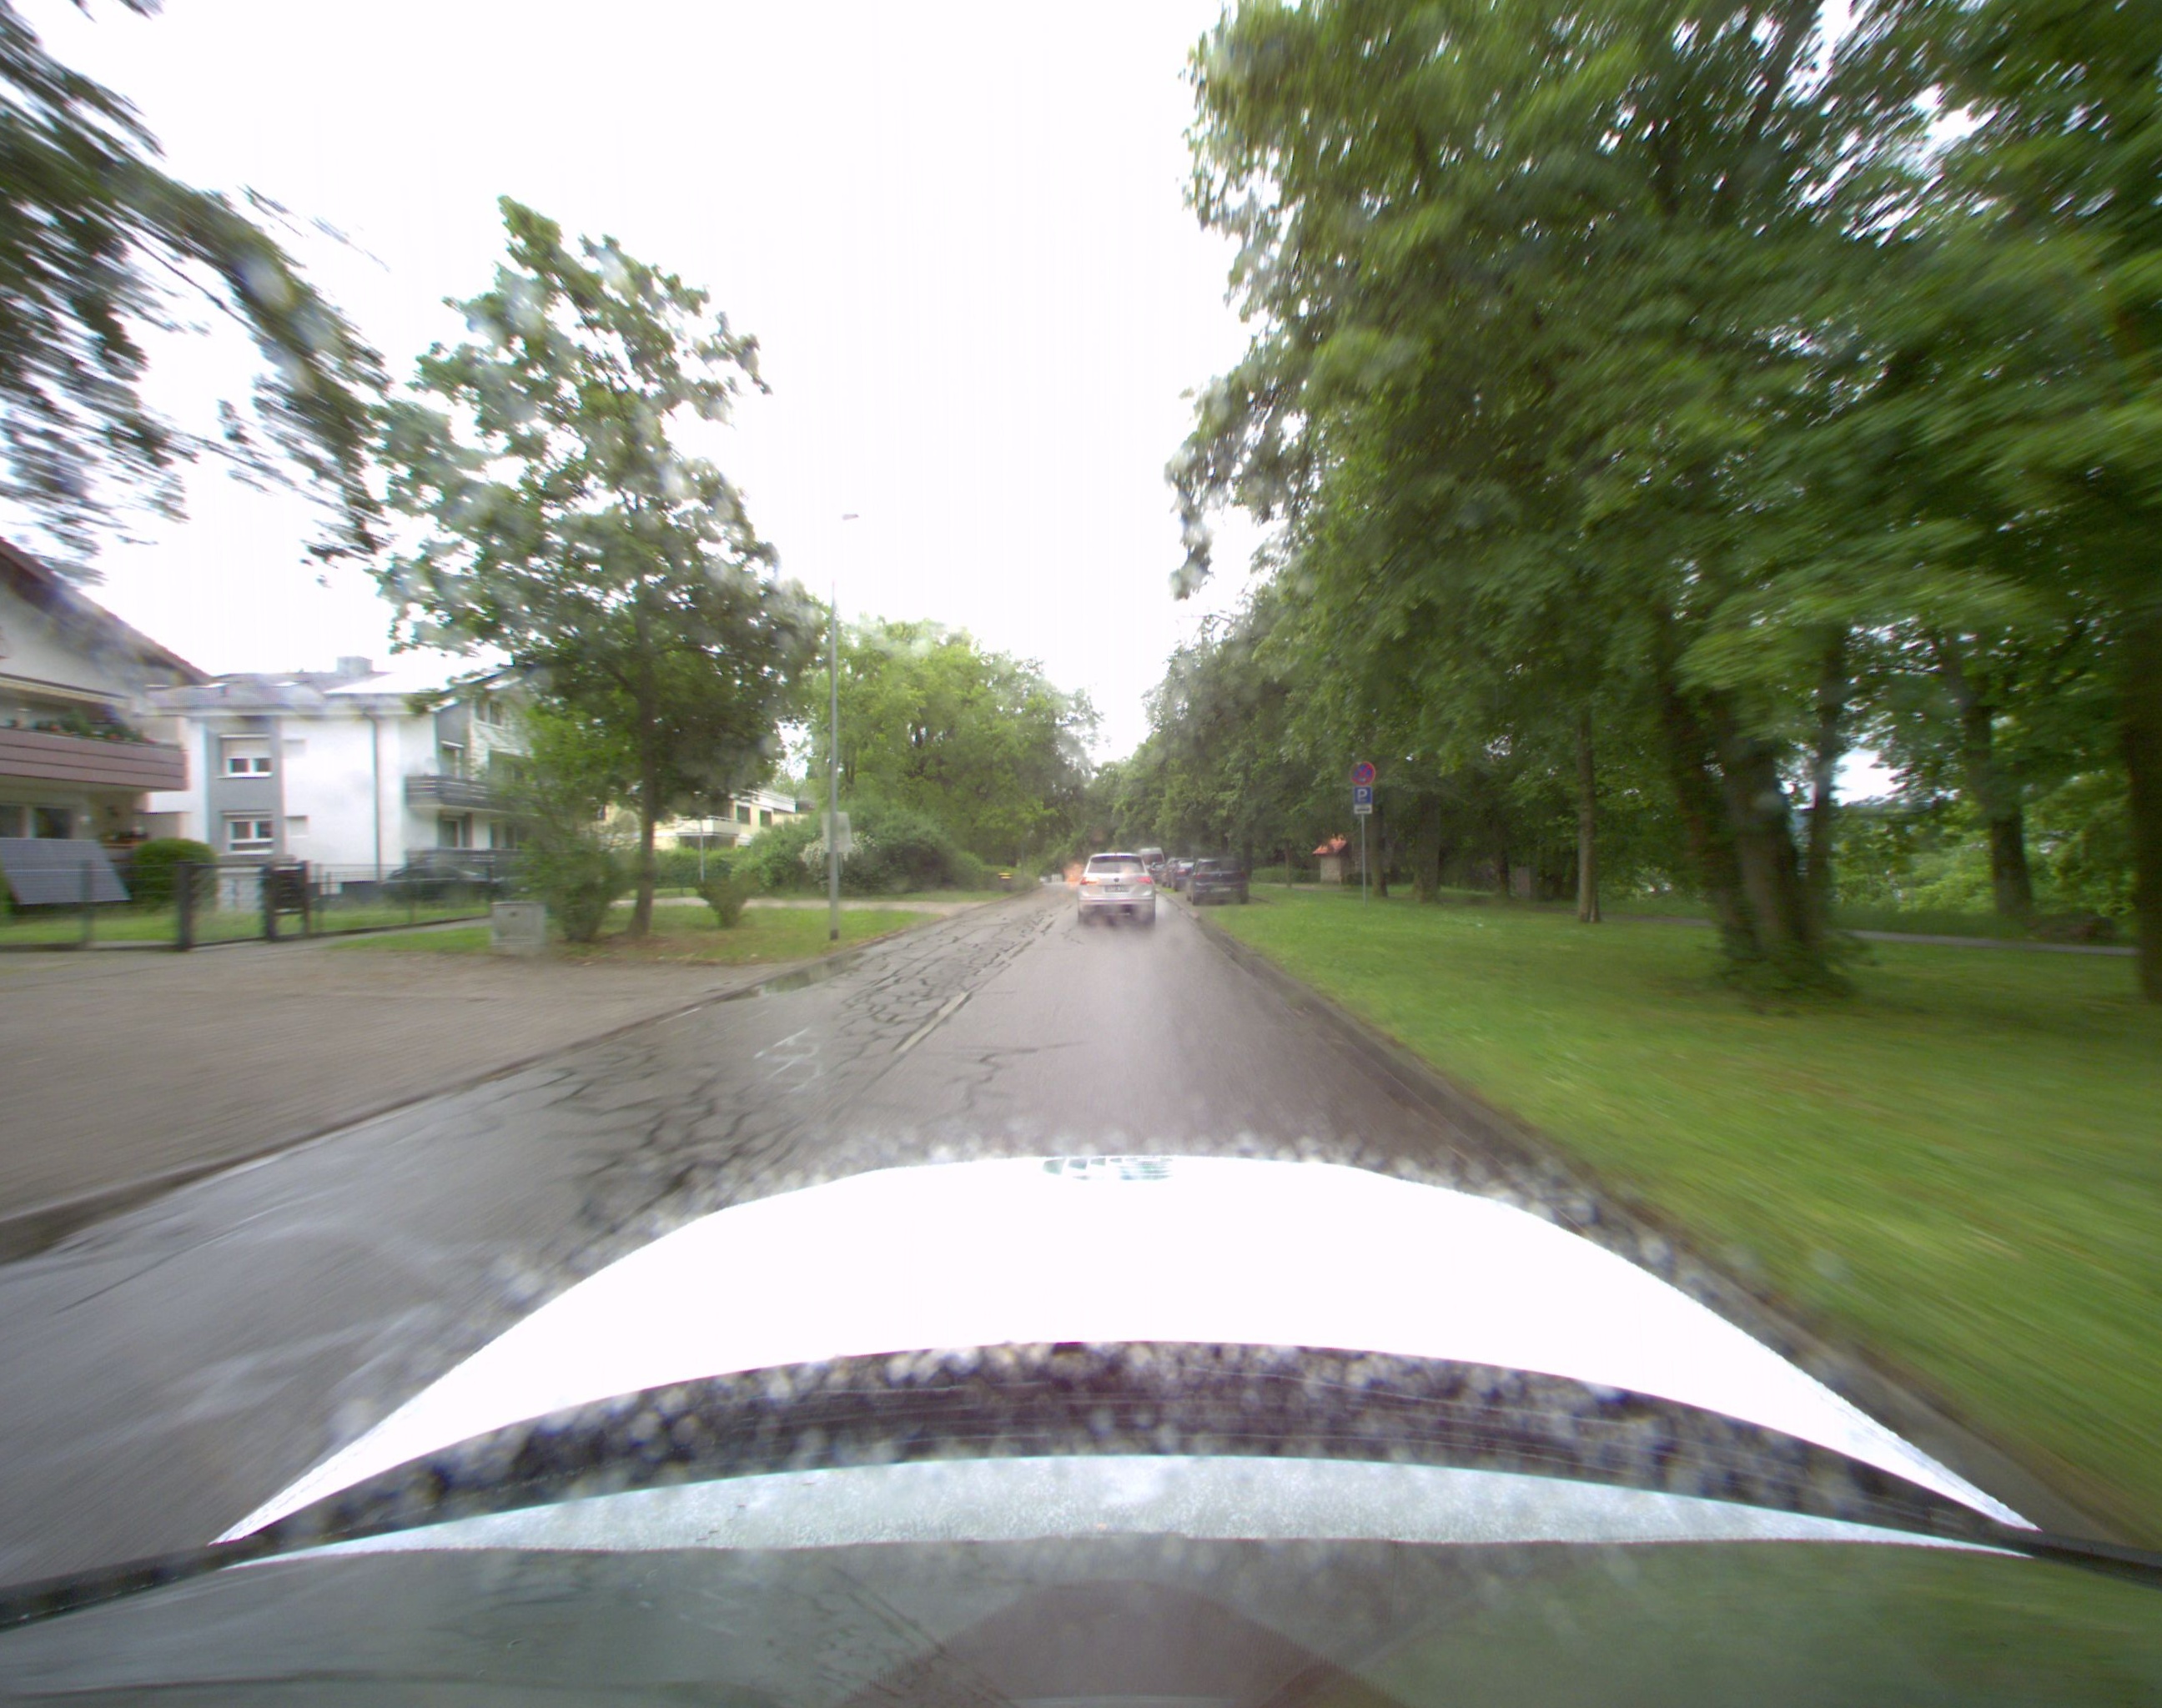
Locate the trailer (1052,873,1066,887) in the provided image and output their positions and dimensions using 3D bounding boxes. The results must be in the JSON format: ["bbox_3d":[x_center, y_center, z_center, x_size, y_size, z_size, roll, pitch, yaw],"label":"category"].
[{"bbox_3d":[-3.561,4.296,132.267,1.530,2.076,3.985,-3,-4,-10],"label":"trailer"}]

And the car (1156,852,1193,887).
[{"bbox_3d":[5.088,0.830,44.861,1.773,1.719,4.265,-3,-1,4],"label":"car"}]

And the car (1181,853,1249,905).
[{"bbox_3d":[4.269,0.764,26.486,1.693,1.461,4.220,-3,-1,3],"label":"car"}]

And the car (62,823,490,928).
[{"bbox_3d":[-17.054,0.429,17.740,5.727,2.038,3.477,0,0,-1],"label":"car"}]

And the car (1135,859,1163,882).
[{"bbox_3d":[4.706,1.128,56.604,1.857,1.511,3.728,-2,-1,4],"label":"car"}]

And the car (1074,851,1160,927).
[{"bbox_3d":[0.821,0.792,20.324,1.899,1.685,4.200,0,-1,0],"label":"car"}]

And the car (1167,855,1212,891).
[{"bbox_3d":[5.012,0.860,38.025,1.736,1.452,4.004,-5,-1,4],"label":"car"}]

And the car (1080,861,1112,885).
[{"bbox_3d":[1.300,1.644,72.629,1.995,2.013,3.983,-1,0,-13],"label":"car"}]

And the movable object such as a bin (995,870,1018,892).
[{"bbox_3d":[-3.923,1.413,42.922,1.033,1.105,0.967,-2,-1,3],"label":"movable object such as a bin"}]

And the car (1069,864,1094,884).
[{"bbox_3d":[0.002,2.119,87.089,1.993,2.013,3.987,-1,0,-10],"label":"car"}]

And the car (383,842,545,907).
[{"bbox_3d":[-21.492,0.695,28.511,3.978,2.013,1.998,-2,0,-4],"label":"car"}]

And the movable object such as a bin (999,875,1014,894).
[{"bbox_3d":[-3.888,1.580,42.525,0.645,0.979,0.578,0,-1,3],"label":"movable object such as a bin"}]

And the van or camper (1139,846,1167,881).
[{"bbox_3d":[5.682,0.719,64.935,2.007,2.583,8.443,0,0,4],"label":"van or camper"}]
